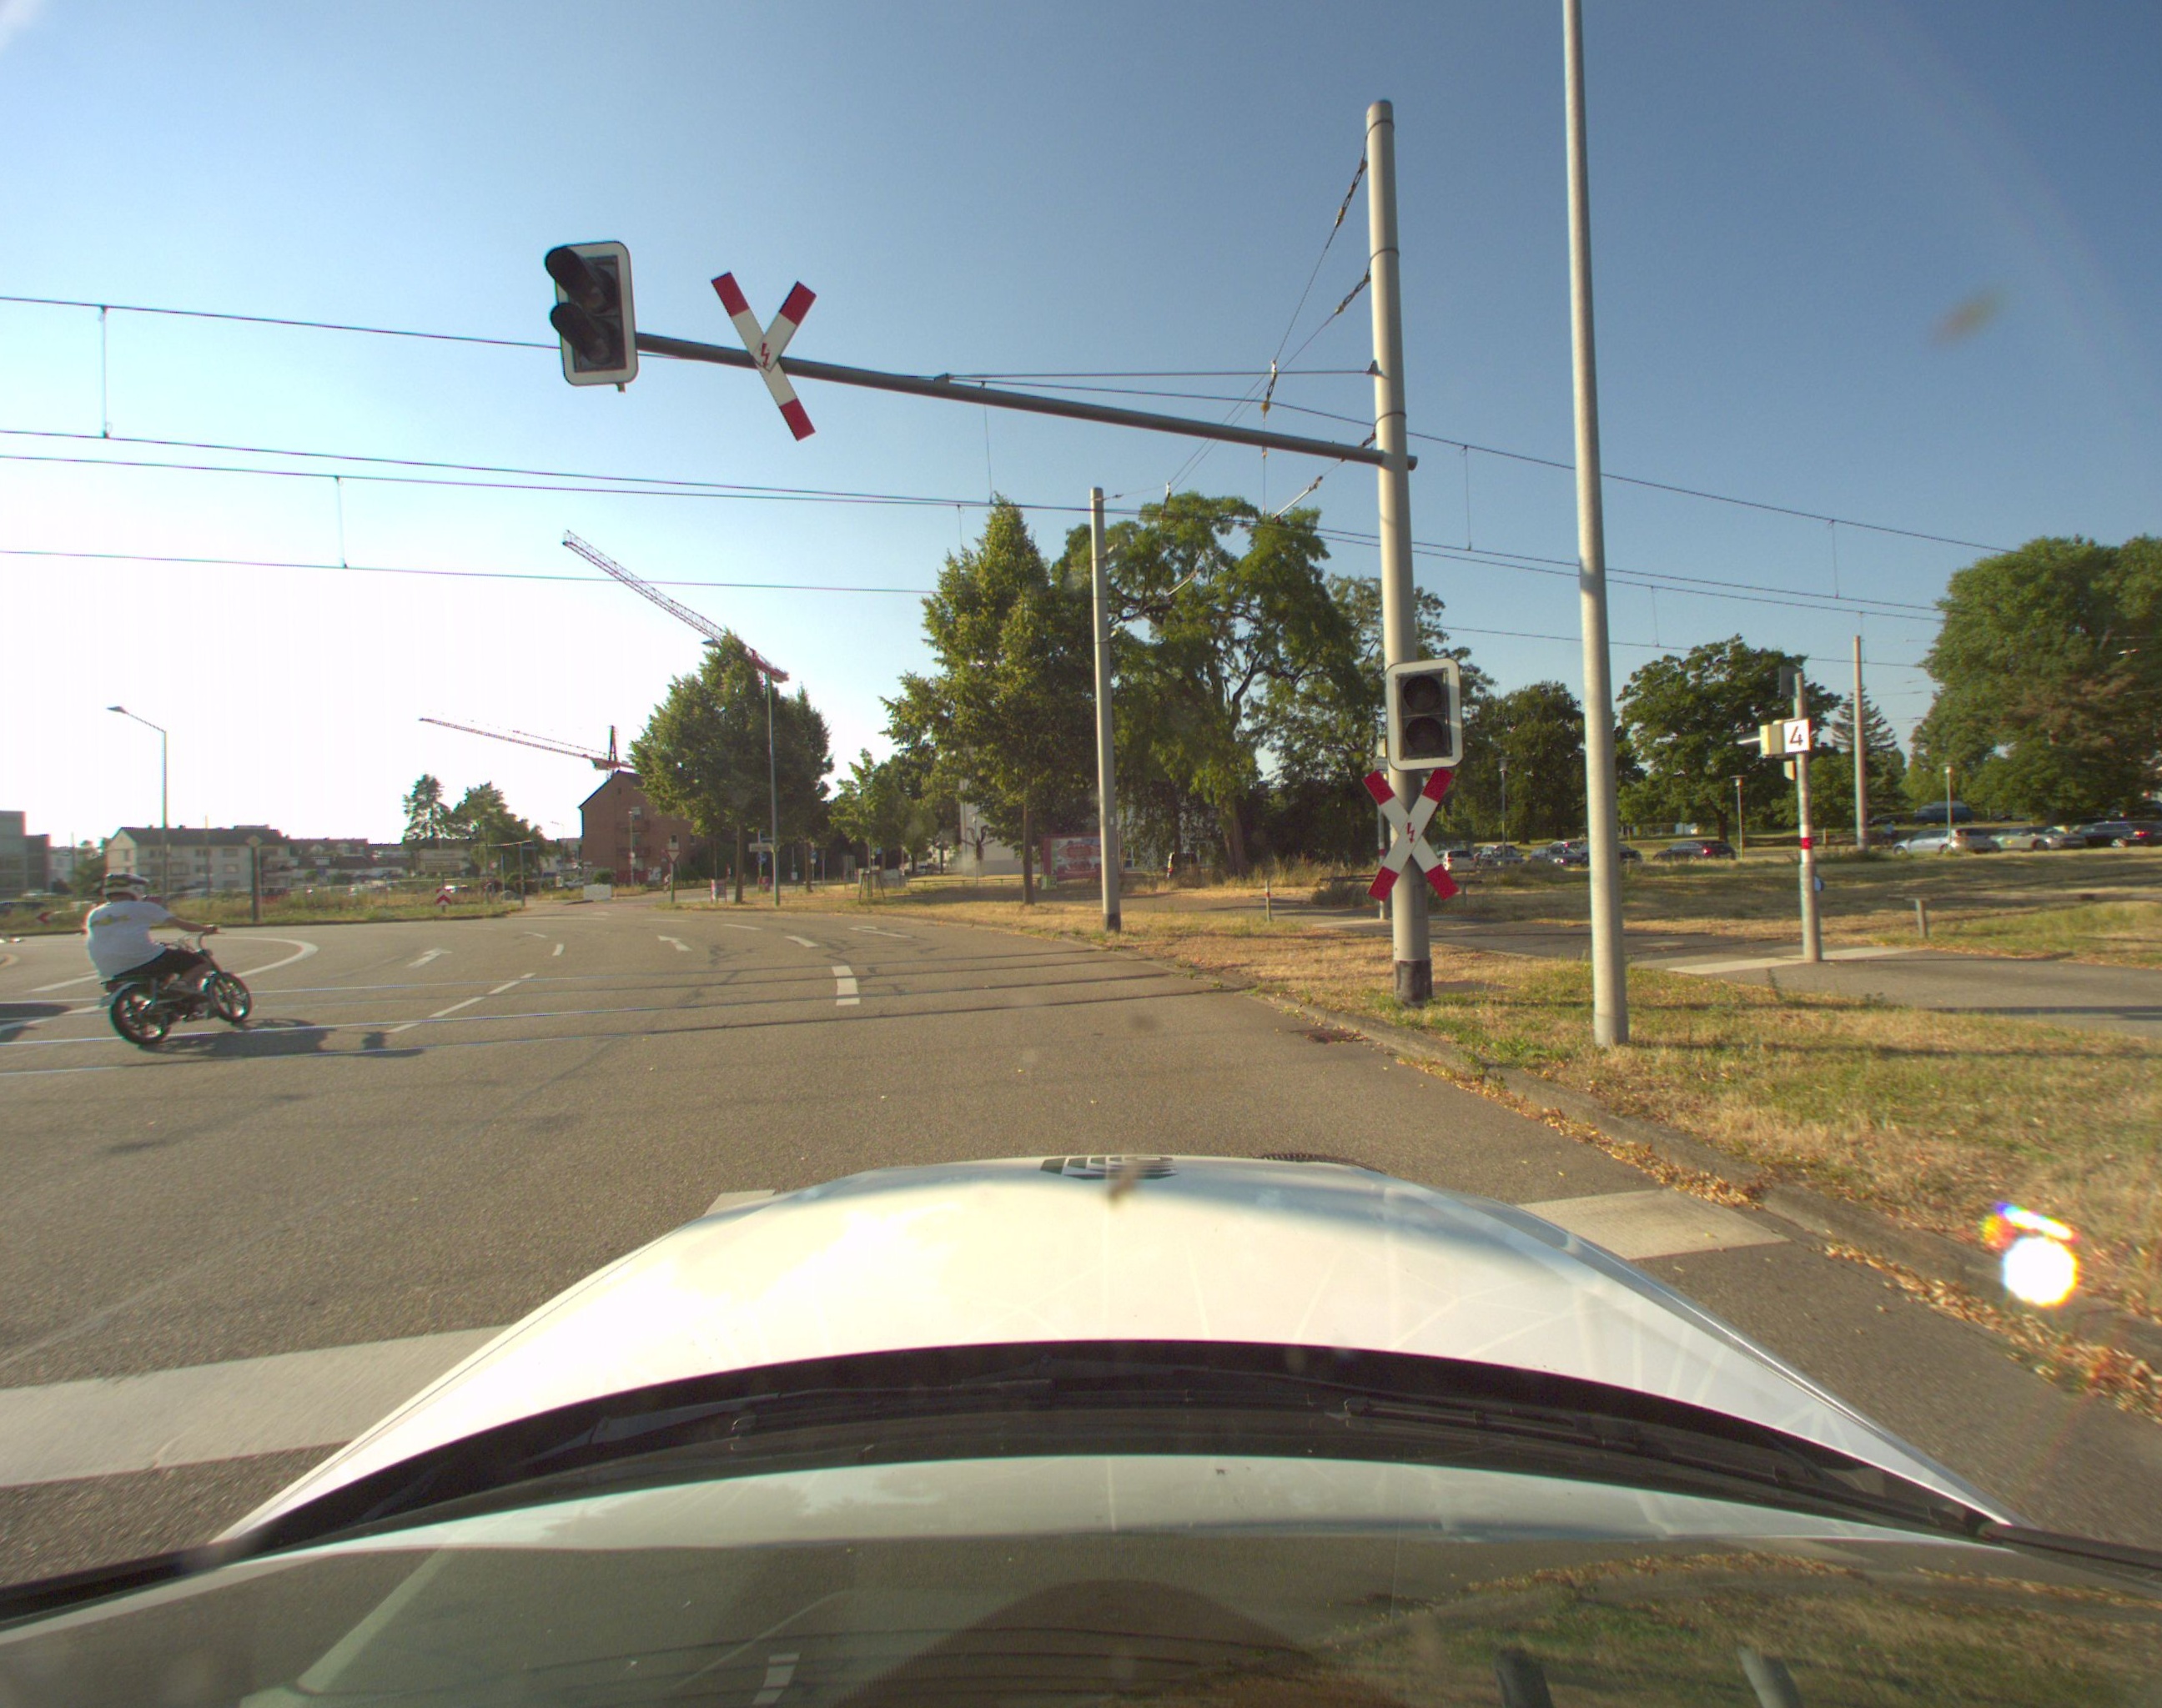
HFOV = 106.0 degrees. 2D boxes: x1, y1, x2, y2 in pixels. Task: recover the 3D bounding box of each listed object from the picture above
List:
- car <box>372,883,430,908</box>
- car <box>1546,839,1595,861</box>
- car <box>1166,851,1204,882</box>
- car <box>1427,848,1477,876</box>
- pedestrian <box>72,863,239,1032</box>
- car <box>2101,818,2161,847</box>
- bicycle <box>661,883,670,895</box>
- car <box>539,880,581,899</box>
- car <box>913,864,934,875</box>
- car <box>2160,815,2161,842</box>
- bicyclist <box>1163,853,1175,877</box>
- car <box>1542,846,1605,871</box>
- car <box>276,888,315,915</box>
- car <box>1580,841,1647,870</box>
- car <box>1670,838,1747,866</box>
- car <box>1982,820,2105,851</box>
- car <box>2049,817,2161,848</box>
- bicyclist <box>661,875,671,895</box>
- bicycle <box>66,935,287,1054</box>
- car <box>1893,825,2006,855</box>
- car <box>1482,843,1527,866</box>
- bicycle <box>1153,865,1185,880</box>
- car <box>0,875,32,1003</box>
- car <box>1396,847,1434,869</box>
[{"bbox_3d":[-61.067,3.707,73.169,3.795,2.014,1.672,-2,-1,1],"label":"car"},{"bbox_3d":[33.617,-0.262,56.001,1.591,1.402,3.981,-2,-1,11],"label":"car"},{"bbox_3d":[5.900,0.684,45.865,1.760,1.618,3.981,-2,-1,11],"label":"car"},{"bbox_3d":[20.387,0.446,44.868,1.591,1.402,3.981,-2,-1,11],"label":"car"},{"bbox_3d":[-8.960,0.860,7.925,0.656,1.519,0.850,-2,0,-12],"label":"pedestrian"},{"bbox_3d":[54.379,-1.105,40.770,1.812,1.403,4.007,-2,-1,7],"label":"car"},{"bbox_3d":[-34.034,2.856,66.720,0.600,0.963,2.086,-2,-1,-29],"label":"bicycle"},{"bbox_3d":[-60.290,4.098,94.282,3.795,2.014,1.672,-2,-1,1],"label":"car"},{"bbox_3d":[-22.492,2.242,116.397,1.573,1.442,3.563,-2,0,10],"label":"car"},{"bbox_3d":[57.508,-1.404,40.798,1.812,1.403,4.007,-2,-1,7],"label":"car"},{"bbox_3d":[5.576,0.705,51.644,0.619,1.511,0.419,-2,0,2],"label":"bicyclist"},{"bbox_3d":[26.241,0.243,43.554,1.591,1.221,3.981,-2,-1,11],"label":"car"},{"bbox_3d":[-59.222,3.533,61.393,3.950,1.854,1.937,-2,0,44],"label":"car"},{"bbox_3d":[28.409,0.076,43.567,1.591,1.402,3.981,-2,-1,11],"label":"car"},{"bbox_3d":[32.882,-0.094,42.800,1.591,1.310,3.981,-2,-1,11],"label":"car"},{"bbox_3d":[49.524,-0.923,42.037,1.812,1.403,4.007,-2,-1,7],"label":"car"},{"bbox_3d":[52.134,-1.065,41.174,1.812,1.403,4.007,-2,-1,7],"label":"car"},{"bbox_3d":[-34.123,2.556,66.938,0.662,1.562,0.885,-2,-1,-30],"label":"bicyclist"},{"bbox_3d":[-8.880,1.328,8.111,0.478,0.876,1.848,-2,-1,-12],"label":"bicycle"},{"bbox_3d":[44.899,-0.691,42.244,1.812,1.403,4.007,-2,-1,7],"label":"car"},{"bbox_3d":[28.785,0.047,55.443,1.591,1.402,3.981,-2,-1,11],"label":"car"},{"bbox_3d":[5.574,1.177,51.643,1.980,0.918,0.430,-2,0,1],"label":"bicycle"},{"bbox_3d":[-13.858,1.058,8.131,1.739,1.599,4.650,-1,-1,-17],"label":"car"},{"bbox_3d":[23.094,0.303,56.417,1.591,1.402,3.981,-2,-1,11],"label":"car"}]
